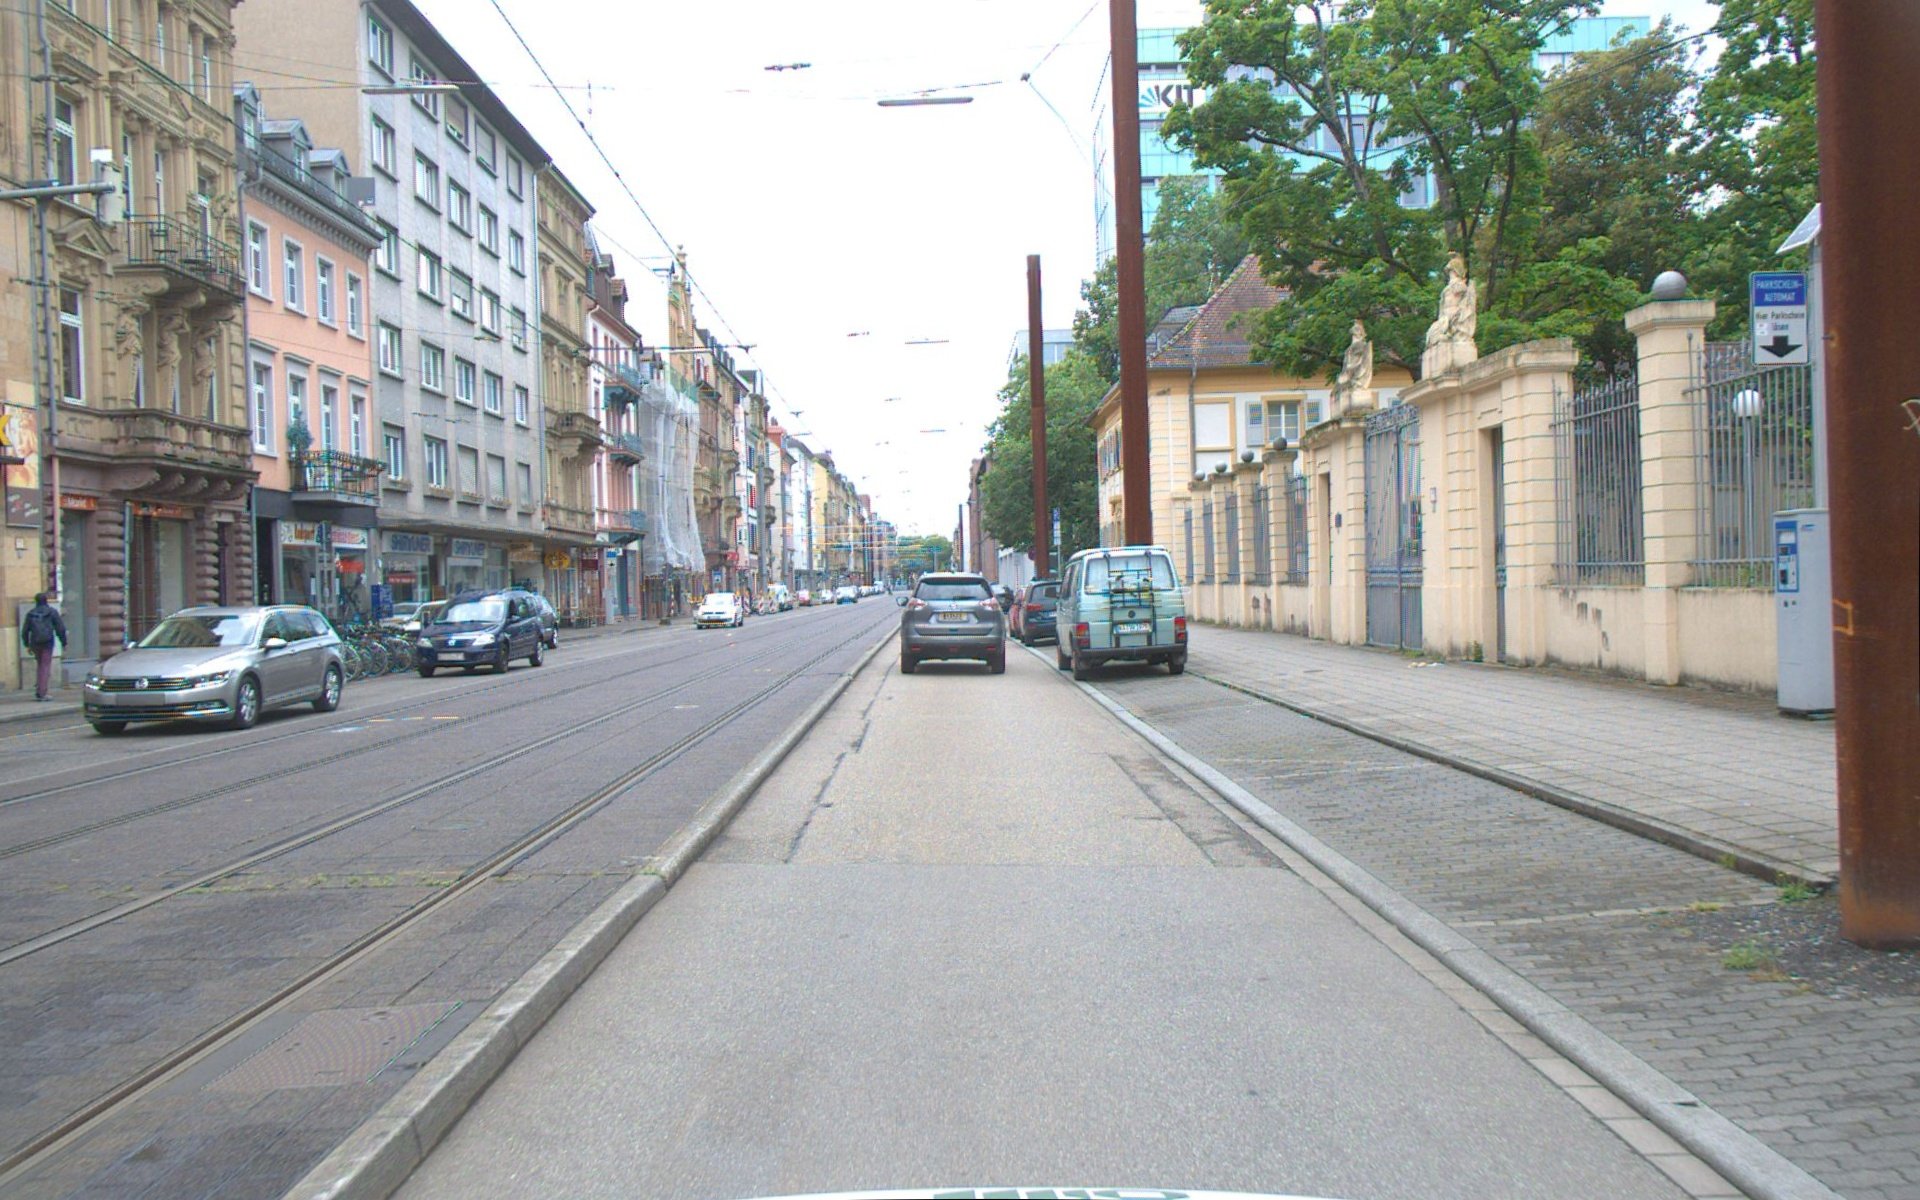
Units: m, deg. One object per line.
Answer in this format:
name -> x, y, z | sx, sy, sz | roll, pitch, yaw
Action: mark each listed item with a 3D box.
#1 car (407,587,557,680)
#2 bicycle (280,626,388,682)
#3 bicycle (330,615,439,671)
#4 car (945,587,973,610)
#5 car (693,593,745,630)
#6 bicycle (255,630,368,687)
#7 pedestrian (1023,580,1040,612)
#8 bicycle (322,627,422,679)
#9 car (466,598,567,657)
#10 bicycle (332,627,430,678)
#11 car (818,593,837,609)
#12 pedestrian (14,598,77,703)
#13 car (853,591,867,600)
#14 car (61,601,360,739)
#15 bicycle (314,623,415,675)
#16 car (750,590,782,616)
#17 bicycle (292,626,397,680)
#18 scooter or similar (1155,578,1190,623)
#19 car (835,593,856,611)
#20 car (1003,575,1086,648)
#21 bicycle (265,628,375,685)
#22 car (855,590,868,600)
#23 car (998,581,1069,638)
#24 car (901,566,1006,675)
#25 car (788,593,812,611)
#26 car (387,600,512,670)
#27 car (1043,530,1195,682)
car -> -9.670, 0.619, 33.815 | 1.723, 1.701, 4.613 | -2, 0, -1
bicycle -> -12.504, 1.072, 33.061 | 1.929, 1.018, 0.462 | -2, 0, -9
bicycle -> -12.731, 0.937, 36.649 | 2.189, 1.146, 0.503 | -2, 0, -9
car -> -0.103, -0.115, 108.879 | 1.740, 1.445, 4.134 | -2, 0, -1
car -> -10.229, 0.473, 70.435 | 1.653, 1.445, 4.134 | -2, 0, -1
bicycle -> -12.456, 1.117, 31.781 | 1.929, 1.018, 0.462 | -2, 0, -9
pedestrian -> 4.327, -0.227, 99.904 | 0.892, 1.919, 0.846 | -1, -1, -1
bicycle -> -12.561, 1.129, 35.385 | 1.929, 1.018, 0.462 | -2, 0, -9
car -> -12.548, 0.740, 47.063 | 1.740, 1.531, 4.401 | -2, 0, -1
bicycle -> -12.581, 1.130, 35.978 | 1.929, 1.018, 0.462 | -2, 0, -9
car -> -14.258, 0.101, 177.542 | 1.954, 1.663, 3.996 | -1, -1, -4
pedestrian -> -14.437, 0.784, 26.124 | 0.556, 1.626, 0.718 | -2, 0, -1
car -> -15.299, -0.705, 252.777 | 1.954, 1.288, 3.996 | -1, -1, -4
car -> -9.361, 0.793, 21.115 | 1.723, 1.474, 4.613 | -2, 0, -1
bicycle -> -12.523, 1.028, 34.817 | 1.929, 1.018, 0.462 | -2, 0, -9
car -> -13.631, 0.193, 116.324 | 1.954, 1.736, 3.996 | -1, -1, -4
bicycle -> -12.589, 1.070, 33.865 | 1.929, 1.018, 0.462 | -2, 0, -9
scooter or similar -> 6.313, 0.023, 49.214 | 0.731, 1.272, 1.918 | -1, -1, -1
car -> -11.138, 0.183, 161.137 | 1.954, 1.663, 3.996 | -1, -1, -4
car -> 2.081, 0.254, 41.706 | 1.714, 1.623, 3.923 | -4, 0, -1
bicycle -> -12.551, 1.104, 32.489 | 1.929, 1.018, 0.462 | -2, 0, -9
car -> -14.677, -0.766, 246.804 | 1.954, 1.288, 3.996 | -1, -1, -4
car -> 2.100, 0.259, 48.106 | 1.714, 1.466, 3.923 | -4, 0, -1
car -> -0.144, 0.328, 29.180 | 1.714, 1.786, 3.923 | 0, 0, -1
car -> -14.156, 0.183, 146.676 | 1.954, 1.490, 3.996 | -1, -1, -4
car -> -12.478, 0.819, 40.686 | 1.740, 1.531, 4.401 | -2, 0, -1
car -> 2.526, 0.075, 27.470 | 1.814, 2.151, 4.983 | -4, 0, -1
